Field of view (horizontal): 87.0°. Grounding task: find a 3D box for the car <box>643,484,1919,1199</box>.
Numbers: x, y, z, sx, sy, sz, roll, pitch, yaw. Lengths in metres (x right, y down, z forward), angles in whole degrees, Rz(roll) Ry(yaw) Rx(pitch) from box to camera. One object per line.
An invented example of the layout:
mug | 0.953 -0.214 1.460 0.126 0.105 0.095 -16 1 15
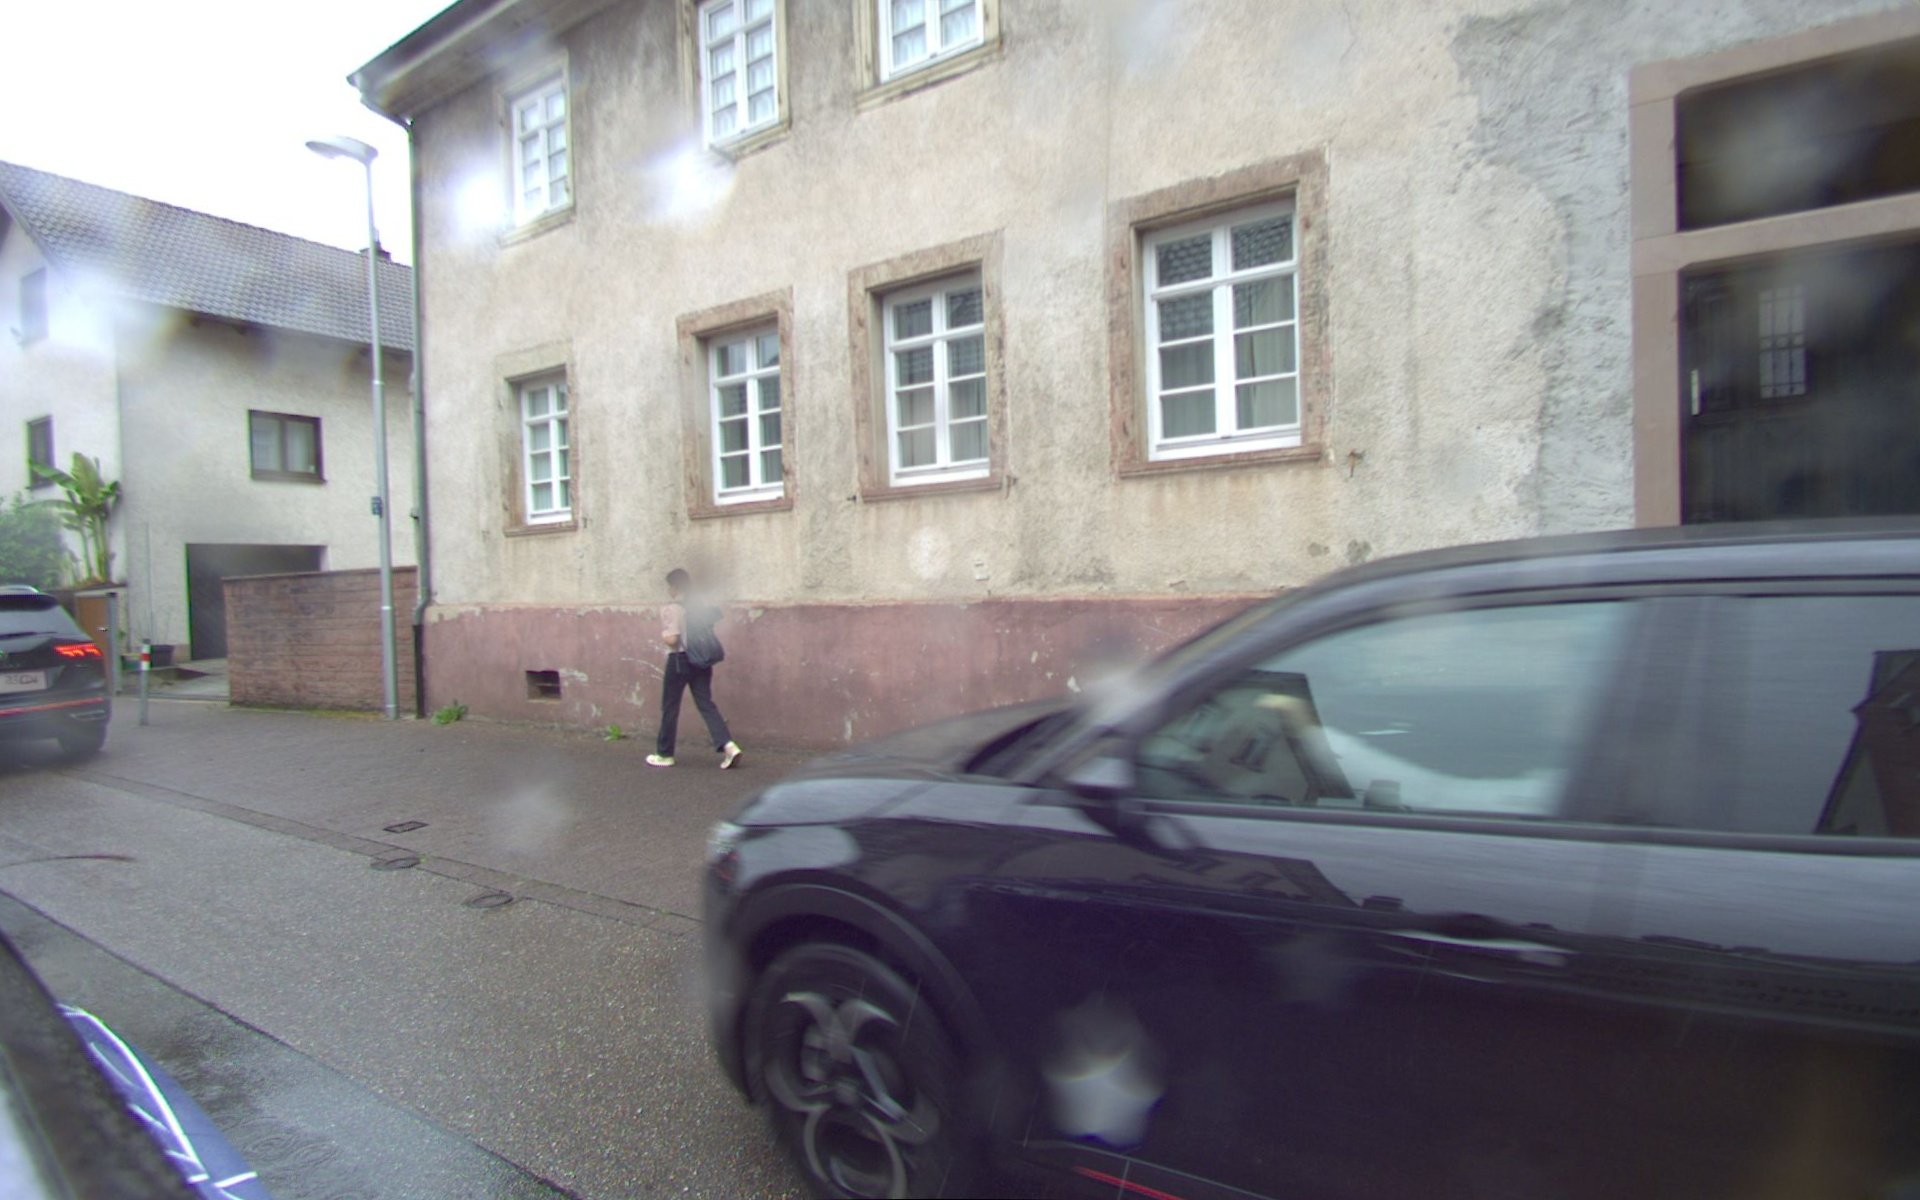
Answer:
car | 1.278 0.570 2.017 3.784 1.522 1.609 -1 4 35

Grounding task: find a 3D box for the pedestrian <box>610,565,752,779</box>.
pedestrian | -2.153 0.526 7.835 0.829 1.549 0.568 -1 2 29

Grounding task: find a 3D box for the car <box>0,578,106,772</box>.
car | -10.377 0.680 9.910 4.411 1.677 1.767 0 2 32
